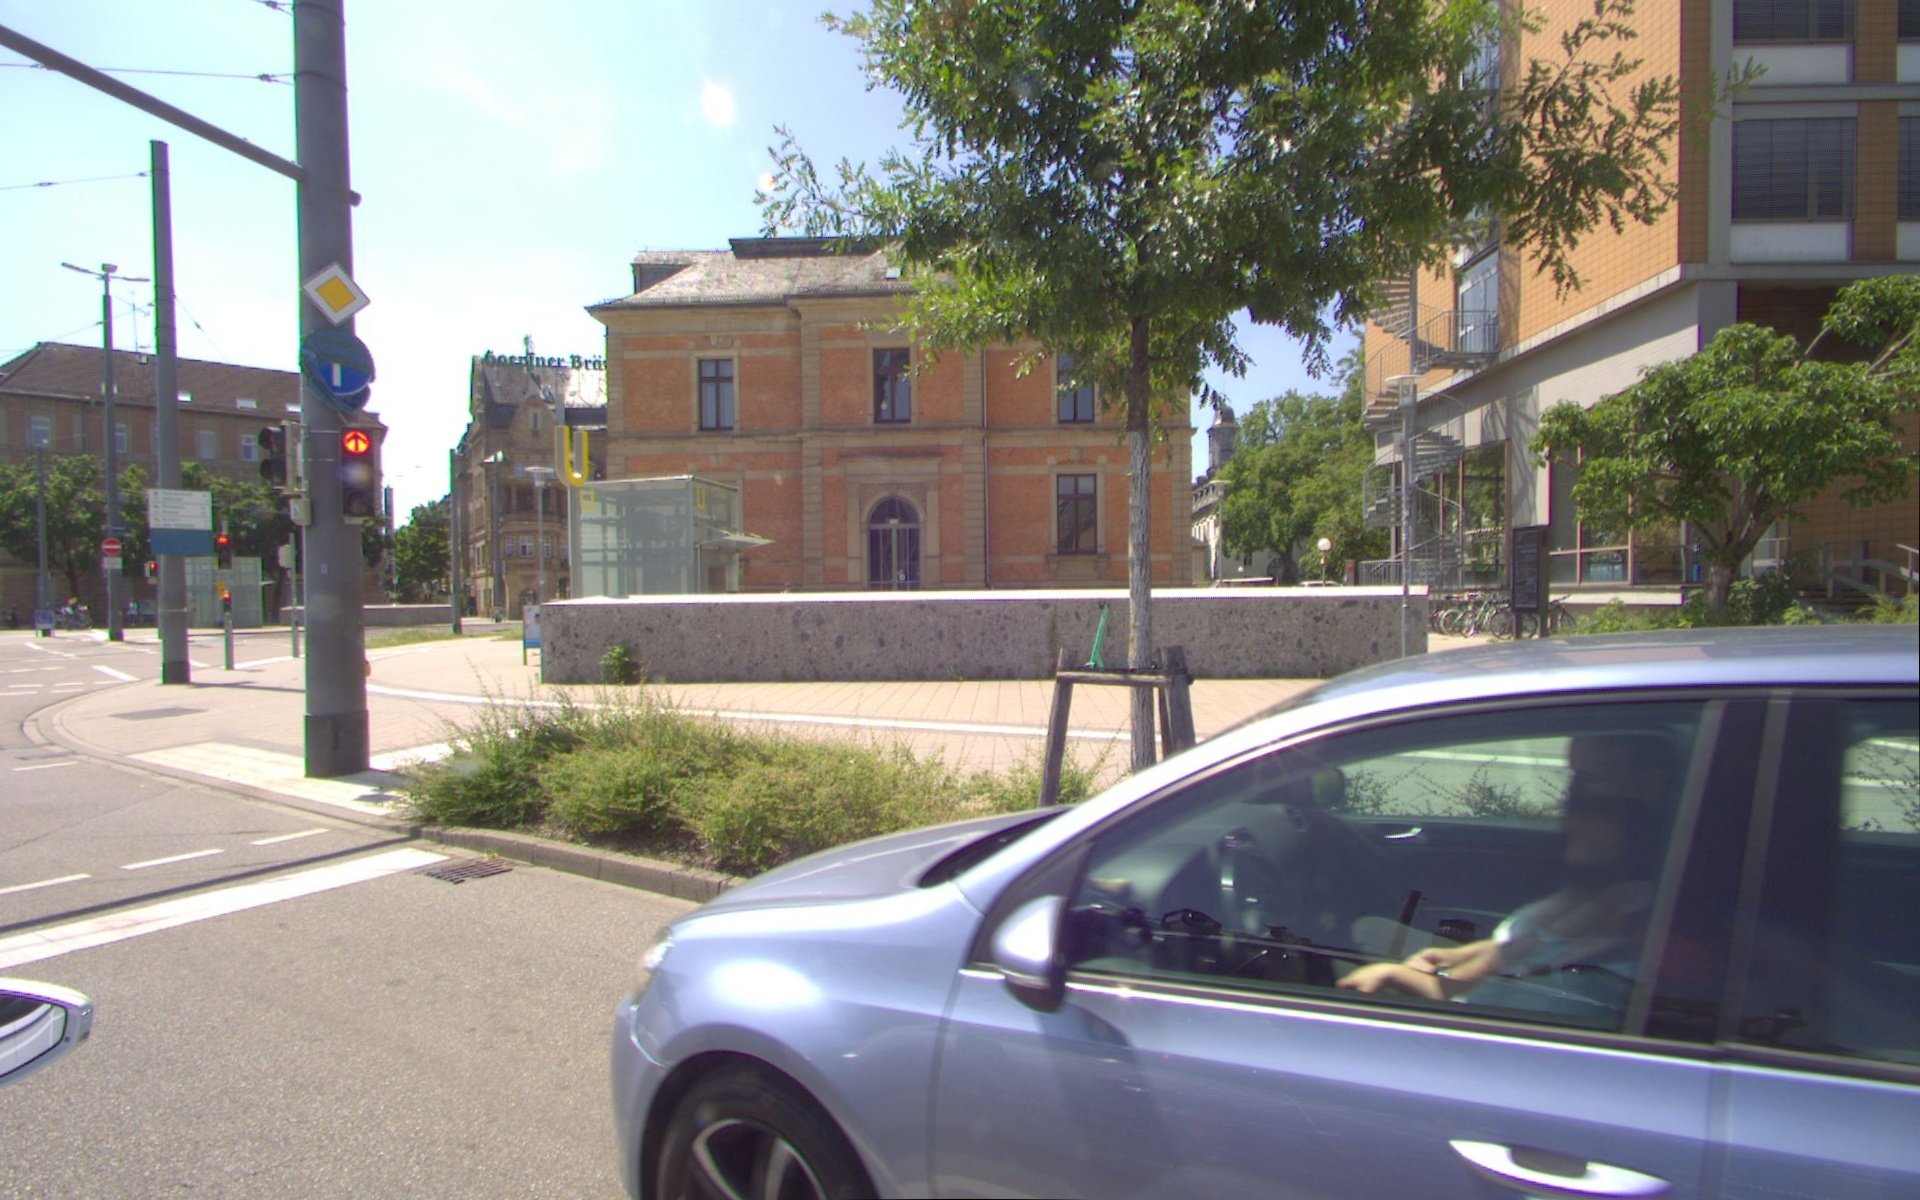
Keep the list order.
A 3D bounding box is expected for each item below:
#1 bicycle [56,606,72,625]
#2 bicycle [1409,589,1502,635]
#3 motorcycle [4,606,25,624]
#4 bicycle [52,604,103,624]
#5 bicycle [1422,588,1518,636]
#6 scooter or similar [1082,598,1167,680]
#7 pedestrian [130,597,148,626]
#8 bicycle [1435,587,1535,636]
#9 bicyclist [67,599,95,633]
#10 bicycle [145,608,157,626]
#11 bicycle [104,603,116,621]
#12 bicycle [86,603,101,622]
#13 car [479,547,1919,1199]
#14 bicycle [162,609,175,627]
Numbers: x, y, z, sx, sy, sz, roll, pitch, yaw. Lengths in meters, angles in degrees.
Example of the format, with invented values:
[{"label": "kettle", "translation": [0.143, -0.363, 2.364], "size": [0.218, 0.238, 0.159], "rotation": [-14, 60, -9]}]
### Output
[{"label": "bicycle", "translation": [-55.368, 0.949, 61.874], "size": [2.069, 1.160, 0.440], "rotation": [-2, -2, 39]}, {"label": "bicycle", "translation": [13.513, 0.331, 27.339], "size": [2.175, 1.234, 0.637], "rotation": [0, -1, 5]}, {"label": "motorcycle", "translation": [-56.347, 0.886, 59.672], "size": [1.920, 1.089, 0.578], "rotation": [0, 1, 36]}, {"label": "bicycle", "translation": [-47.585, 0.739, 54.037], "size": [0.679, 1.066, 2.112], "rotation": [0, 0, 8]}, {"label": "bicycle", "translation": [13.491, 0.326, 26.509], "size": [2.175, 1.234, 0.637], "rotation": [0, -1, 5]}, {"label": "scooter or similar", "translation": [2.445, 0.575, 14.843], "size": [1.227, 1.186, 0.458], "rotation": [0, 1, 13]}, {"label": "pedestrian", "translation": [-48.563, 0.664, 59.229], "size": [0.627, 1.731, 0.462], "rotation": [0, 1, 1]}, {"label": "bicycle", "translation": [13.439, 0.309, 25.674], "size": [2.175, 1.234, 0.637], "rotation": [0, -1, 5]}, {"label": "bicyclist", "translation": [-47.545, 0.857, 54.169], "size": [0.469, 1.831, 1.064], "rotation": [0, -1, 8]}, {"label": "bicycle", "translation": [-52.532, 1.111, 65.035], "size": [0.547, 1.135, 1.854], "rotation": [-1, 1, -41]}, {"label": "bicycle", "translation": [-53.618, 0.743, 63.138], "size": [0.547, 1.135, 1.804], "rotation": [-1, 1, -41]}, {"label": "bicycle", "translation": [-54.079, 0.764, 62.507], "size": [0.546, 1.135, 1.806], "rotation": [-1, 1, -37]}, {"label": "car", "translation": [1.032, 0.707, 1.927], "size": [3.945, 1.478, 1.649], "rotation": [0, -1, 31]}, {"label": "bicycle", "translation": [-51.934, 1.186, 65.678], "size": [0.547, 1.135, 1.912], "rotation": [-1, 1, -41]}]
